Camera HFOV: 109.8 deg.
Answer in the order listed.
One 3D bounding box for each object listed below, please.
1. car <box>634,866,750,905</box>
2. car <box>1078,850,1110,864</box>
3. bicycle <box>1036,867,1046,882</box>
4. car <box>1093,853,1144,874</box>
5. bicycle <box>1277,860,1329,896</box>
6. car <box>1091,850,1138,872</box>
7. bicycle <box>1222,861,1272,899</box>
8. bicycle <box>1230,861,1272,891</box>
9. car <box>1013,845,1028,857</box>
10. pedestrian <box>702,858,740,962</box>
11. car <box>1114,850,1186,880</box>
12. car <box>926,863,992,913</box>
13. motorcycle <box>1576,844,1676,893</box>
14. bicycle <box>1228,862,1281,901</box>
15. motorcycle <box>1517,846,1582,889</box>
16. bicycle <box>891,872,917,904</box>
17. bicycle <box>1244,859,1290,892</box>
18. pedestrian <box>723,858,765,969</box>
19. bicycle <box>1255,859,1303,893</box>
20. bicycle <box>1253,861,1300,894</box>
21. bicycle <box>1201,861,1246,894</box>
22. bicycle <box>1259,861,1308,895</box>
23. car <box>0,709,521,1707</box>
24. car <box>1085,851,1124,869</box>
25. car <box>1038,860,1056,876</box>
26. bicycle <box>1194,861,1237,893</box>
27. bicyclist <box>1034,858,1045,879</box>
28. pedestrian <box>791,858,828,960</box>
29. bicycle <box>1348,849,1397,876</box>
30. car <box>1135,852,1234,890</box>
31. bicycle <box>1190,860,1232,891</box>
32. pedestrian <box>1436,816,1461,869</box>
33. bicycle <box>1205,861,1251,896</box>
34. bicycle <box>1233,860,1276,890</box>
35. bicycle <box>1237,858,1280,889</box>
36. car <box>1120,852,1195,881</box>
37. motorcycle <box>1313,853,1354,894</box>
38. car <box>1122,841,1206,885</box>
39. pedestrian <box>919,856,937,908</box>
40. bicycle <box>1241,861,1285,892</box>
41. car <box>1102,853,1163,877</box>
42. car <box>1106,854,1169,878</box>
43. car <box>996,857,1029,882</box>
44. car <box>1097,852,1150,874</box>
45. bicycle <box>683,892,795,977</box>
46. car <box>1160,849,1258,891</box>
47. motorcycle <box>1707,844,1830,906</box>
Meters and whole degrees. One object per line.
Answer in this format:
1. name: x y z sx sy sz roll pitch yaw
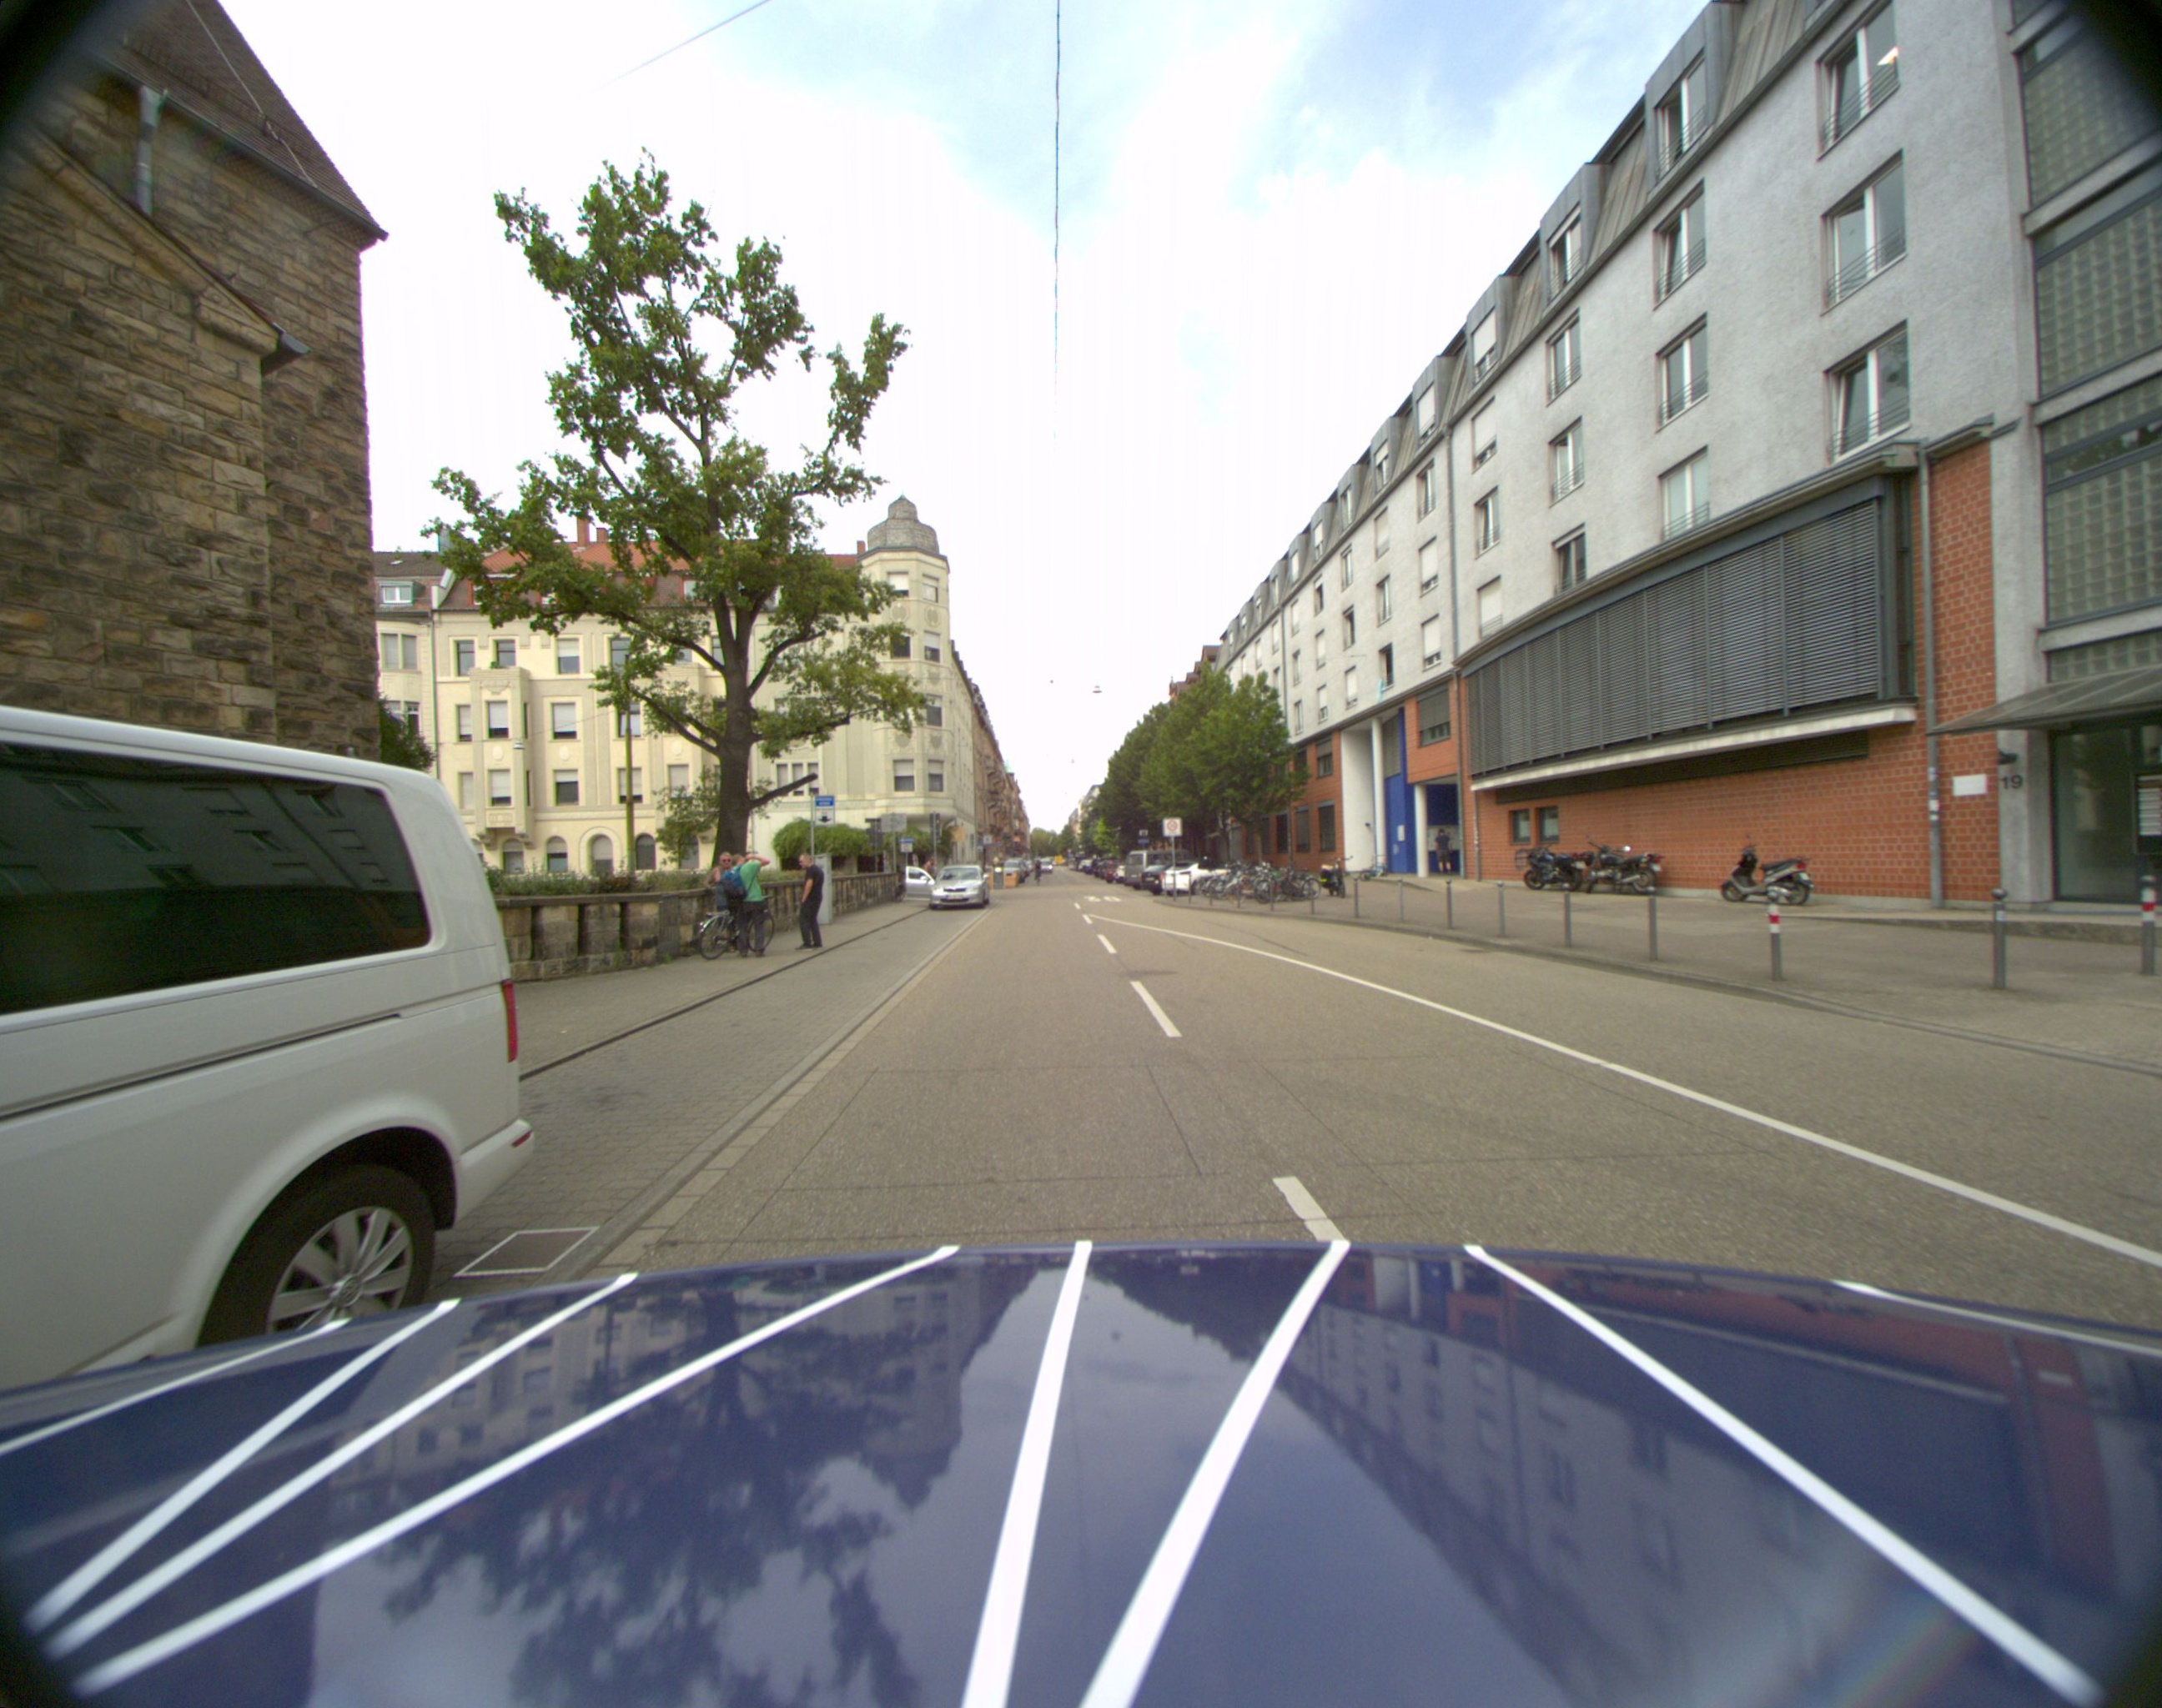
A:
1. car: -16.823 1.385 33.004 4.034 1.526 1.848 -2 -3 -1
2. car: 1.737 0.393 100.996 4.013 1.746 1.687 -2 0 -36
3. bicycle: -2.667 1.351 50.413 0.586 0.927 1.783 -2 0 -2
4. car: 3.118 0.768 63.469 4.013 1.558 1.687 -2 0 -36
5. bicycle: 6.677 0.712 22.848 1.409 1.020 0.401 -3 1 0
6. car: 3.094 0.647 69.799 4.052 1.847 1.687 -2 0 -36
7. bicycle: 5.107 0.797 23.399 1.409 1.032 0.401 -4 1 0
8. bicycle: 6.293 0.804 28.165 1.409 1.020 0.401 -3 1 0
9. car: -7.879 -0.371 99.363 1.854 1.505 4.004 -2 0 -5
10. pedestrian: -6.142 0.937 12.991 0.510 1.710 0.530 -2 1 -24
11. car: 4.112 0.634 44.979 4.013 1.605 1.708 -2 0 -36
12. car: -4.046 1.093 25.915 1.760 1.460 4.417 -1 0 -4
13. motorcycle: 12.757 0.334 17.854 0.585 1.042 1.965 -3 0 -14
14. bicycle: 5.143 0.808 22.509 1.409 1.032 0.401 -4 1 0
15. motorcycle: 12.467 0.350 20.261 0.585 1.042 1.656 -3 0 -4
16. bicycle: -6.725 1.269 28.883 0.523 1.099 1.978 -2 0 -1
17. bicycle: 6.336 0.731 25.919 1.409 1.020 0.401 -3 1 0
18. pedestrian: -5.337 0.921 12.043 0.532 1.710 0.508 -2 1 -25
19. bicycle: 6.414 0.710 24.618 1.409 1.020 0.401 -3 1 0
20. bicycle: 6.461 0.771 25.106 1.409 1.020 0.401 -3 1 0
21. bicycle: 4.869 0.802 26.034 1.409 1.020 0.401 -4 1 0
22. bicycle: 6.417 0.756 24.082 1.409 1.020 0.401 -3 1 0
23. car: -3.028 0.723 0.322 2.020 2.017 5.122 -1 -1 -4
24. car: 2.540 0.628 82.908 4.013 1.847 1.687 -2 0 -36
25. car: -4.264 1.779 96.096 1.942 1.913 4.006 -2 0 2
26. bicycle: 4.827 0.817 27.307 1.409 1.020 0.401 -4 1 0
27. bicyclist: -2.725 0.953 50.385 0.649 1.408 1.094 -2 0 -1
28. pedestrian: -4.733 0.933 13.241 0.510 1.710 0.530 -2 1 -25
29. bicycle: 11.983 0.351 31.287 1.614 0.921 0.932 -7 0 9
30. car: 4.639 0.738 33.671 4.324 1.460 1.713 -2 0 -36
31. bicycle: 4.795 0.803 28.114 1.409 1.020 0.401 -4 1 0
32. pedestrian: 14.257 -0.424 29.482 0.729 2.002 0.783 -1 0 17
33. bicycle: 4.903 0.819 25.394 1.409 1.032 0.401 -4 1 0
34. bicycle: 6.314 0.762 27.689 1.409 1.020 0.401 -3 1 0
35. bicycle: 6.317 0.700 27.097 1.409 1.020 0.401 -3 1 0
36. car: 4.291 0.704 42.301 4.013 1.438 1.621 -2 0 -36
37. motorcycle: 7.738 0.574 23.359 0.585 1.166 1.779 -3 0 -1
38. car: 4.321 0.445 39.416 4.012 1.986 1.857 -4 1 -33
39. pedestrian: -5.189 0.936 25.783 0.468 1.725 0.410 -1 1 -3
40. bicycle: 6.316 0.777 26.404 1.409 1.020 0.401 -3 1 0
41. car: 3.573 0.765 52.689 4.013 1.445 1.687 -2 0 -36
42. car: 3.783 0.802 50.484 4.013 1.381 1.592 -2 0 -36
43. car: -4.827 1.099 54.082 1.854 1.661 4.006 -2 0 2
44. car: 3.450 0.731 60.914 4.013 1.558 1.687 -2 0 -36
45. bicycle: -5.381 1.233 12.068 0.533 1.143 1.755 -2 0 18
46. car: 5.282 0.618 31.207 4.013 1.536 1.598 -2 0 -37
47. motorcycle: 12.730 0.370 14.147 0.585 1.042 1.793 -3 0 -2
